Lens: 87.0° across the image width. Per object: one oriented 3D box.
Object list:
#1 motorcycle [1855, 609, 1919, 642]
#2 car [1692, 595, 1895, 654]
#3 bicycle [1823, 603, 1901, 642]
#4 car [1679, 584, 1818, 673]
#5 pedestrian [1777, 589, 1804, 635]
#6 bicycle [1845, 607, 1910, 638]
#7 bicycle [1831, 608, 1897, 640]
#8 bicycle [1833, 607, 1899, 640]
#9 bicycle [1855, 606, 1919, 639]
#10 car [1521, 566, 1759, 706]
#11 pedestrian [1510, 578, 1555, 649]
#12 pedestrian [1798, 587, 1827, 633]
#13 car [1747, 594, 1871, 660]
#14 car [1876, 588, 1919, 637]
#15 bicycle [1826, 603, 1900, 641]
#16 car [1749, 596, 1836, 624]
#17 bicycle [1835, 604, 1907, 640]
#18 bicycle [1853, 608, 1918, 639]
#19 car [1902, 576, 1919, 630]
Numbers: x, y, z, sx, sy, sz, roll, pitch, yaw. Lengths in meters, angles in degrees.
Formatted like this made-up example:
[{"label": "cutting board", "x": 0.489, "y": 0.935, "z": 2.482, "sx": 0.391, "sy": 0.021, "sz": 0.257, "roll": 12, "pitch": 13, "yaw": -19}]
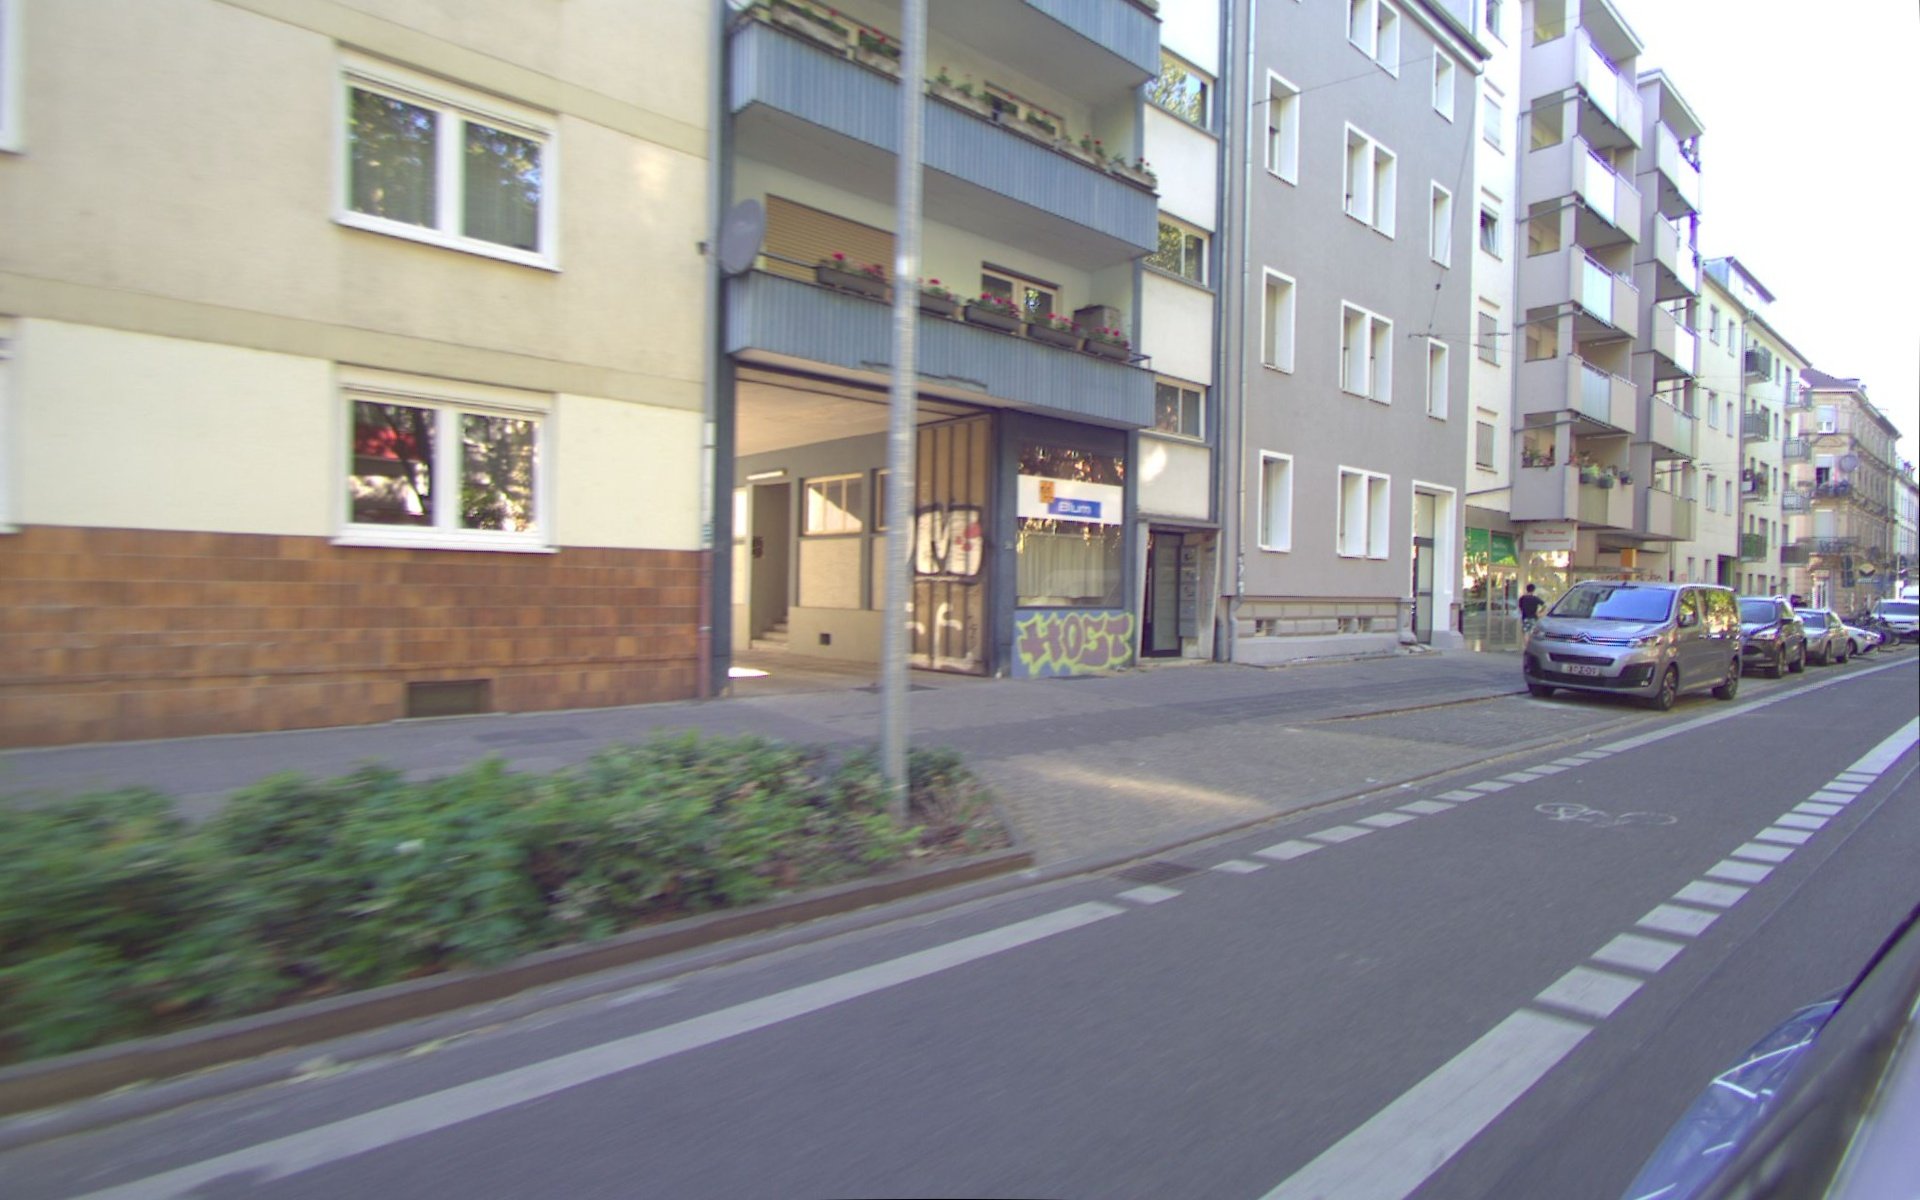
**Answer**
[{"label": "motorcycle", "x": 34.733, "y": 0.935, "z": 37.825, "sx": 0.604, "sy": 1.093, "sz": 1.829, "roll": 1, "pitch": 2, "yaw": -18}, {"label": "car", "x": 25.106, "y": 0.678, "z": 30.713, "sx": 4.606, "sy": 1.455, "sz": 1.839, "roll": 3, "pitch": 2, "yaw": 38}, {"label": "bicycle", "x": 30.951, "y": 0.758, "z": 34.745, "sx": 0.449, "sy": 1.206, "sz": 1.896, "roll": 0, "pitch": 3, "yaw": -41}, {"label": "car", "x": 17.022, "y": 0.540, "z": 21.766, "sx": 4.212, "sy": 1.726, "sz": 1.768, "roll": 0, "pitch": 1, "yaw": -44}, {"label": "pedestrian", "x": 34.680, "y": 0.481, "z": 42.240, "sx": 1.062, "sy": 1.845, "sz": 0.626, "roll": 0, "pitch": 2, "yaw": -40}, {"label": "bicycle", "x": 33.126, "y": 0.797, "z": 36.567, "sx": 0.449, "sy": 0.999, "sz": 1.656, "roll": 0, "pitch": 3, "yaw": -41}, {"label": "bicycle", "x": 31.629, "y": 0.835, "z": 35.436, "sx": 0.449, "sy": 0.978, "sz": 1.656, "roll": 0, "pitch": 3, "yaw": -41}, {"label": "bicycle", "x": 31.989, "y": 0.822, "z": 35.759, "sx": 0.449, "sy": 1.033, "sz": 1.656, "roll": 0, "pitch": 3, "yaw": -41}, {"label": "bicycle", "x": 34.050, "y": 0.822, "z": 37.177, "sx": 0.449, "sy": 1.068, "sz": 1.656, "roll": 0, "pitch": 3, "yaw": -41}, {"label": "car", "x": 10.930, "y": 0.471, "z": 16.117, "sx": 4.837, "sy": 1.913, "sz": 1.862, "roll": 0, "pitch": 1, "yaw": -40}, {"label": "pedestrian", "x": 14.409, "y": 0.332, "z": 25.477, "sx": 0.707, "sy": 1.742, "sz": 0.758, "roll": 1, "pitch": 0, "yaw": -39}, {"label": "pedestrian", "x": 35.124, "y": 0.396, "z": 41.697, "sx": 1.062, "sy": 1.845, "sz": 0.711, "roll": 0, "pitch": 2, "yaw": -40}, {"label": "car", "x": 22.215, "y": 0.639, "z": 26.418, "sx": 4.432, "sy": 1.544, "sz": 1.728, "roll": 0, "pitch": 1, "yaw": -40}, {"label": "car", "x": 40.224, "y": 0.512, "z": 42.682, "sx": 4.277, "sy": 1.841, "sz": 1.862, "roll": -1, "pitch": 5, "yaw": -42}, {"label": "bicycle", "x": 31.292, "y": 0.751, "z": 35.076, "sx": 0.449, "sy": 1.206, "sz": 1.827, "roll": 0, "pitch": 3, "yaw": -41}, {"label": "car", "x": 49.104, "y": 0.564, "z": 59.741, "sx": 1.758, "sy": 1.594, "sz": 3.658, "roll": -1, "pitch": 0, "yaw": -39}, {"label": "bicycle", "x": 32.494, "y": 0.770, "z": 36.112, "sx": 0.692, "sy": 1.162, "sz": 1.797, "roll": 0, "pitch": 3, "yaw": -41}, {"label": "bicycle", "x": 33.689, "y": 0.841, "z": 36.849, "sx": 0.449, "sy": 0.999, "sz": 1.656, "roll": 0, "pitch": 3, "yaw": -41}, {"label": "car", "x": 47.777, "y": 0.131, "z": 49.389, "sx": 5.984, "sy": 2.526, "sz": 2.152, "roll": 0, "pitch": 1, "yaw": -42}]
